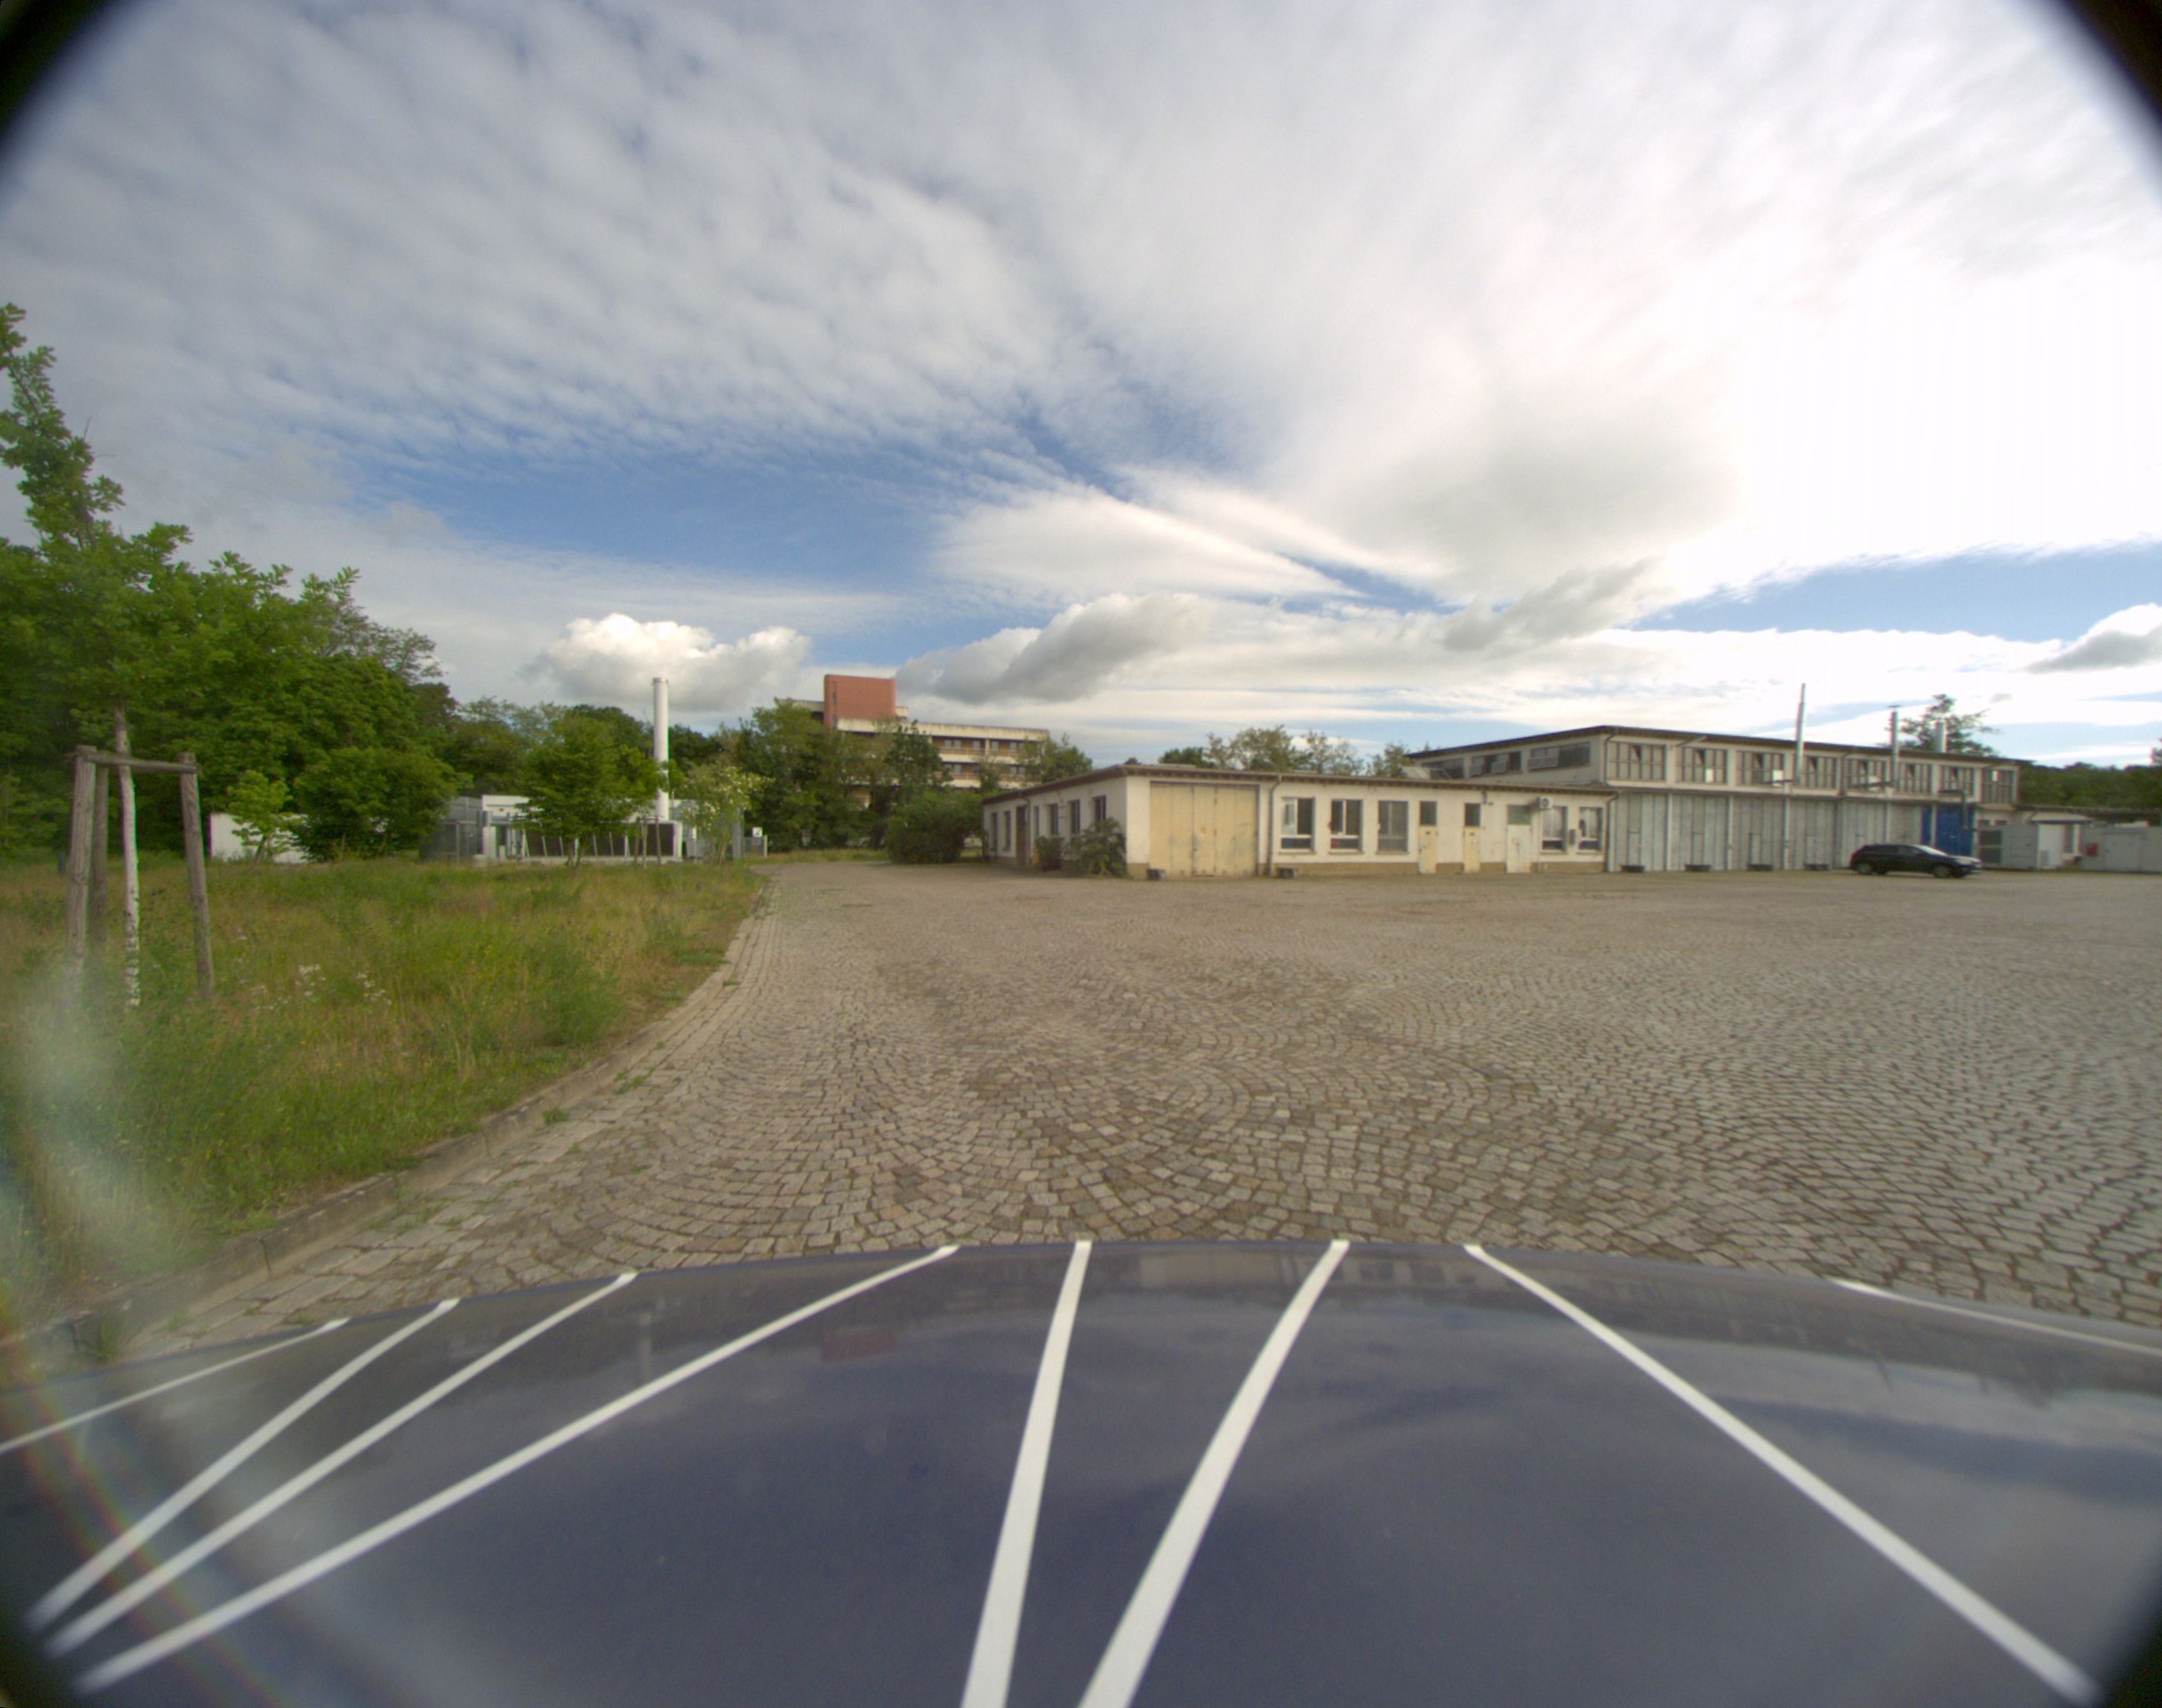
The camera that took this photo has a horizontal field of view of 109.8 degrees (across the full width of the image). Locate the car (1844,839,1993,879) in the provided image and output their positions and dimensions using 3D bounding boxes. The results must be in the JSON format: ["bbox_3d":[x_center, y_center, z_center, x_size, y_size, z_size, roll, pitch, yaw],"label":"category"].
[{"bbox_3d":[41.052,0.198,37.396,2.002,1.746,4.427,3,0,-21],"label":"car"}]

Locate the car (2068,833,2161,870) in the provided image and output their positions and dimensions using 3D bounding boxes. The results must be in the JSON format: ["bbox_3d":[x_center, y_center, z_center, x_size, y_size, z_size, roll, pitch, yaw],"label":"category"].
[{"bbox_3d":[66.898,-0.171,47.618,2.455,2.207,5.619,0,1,-21],"label":"car"}]

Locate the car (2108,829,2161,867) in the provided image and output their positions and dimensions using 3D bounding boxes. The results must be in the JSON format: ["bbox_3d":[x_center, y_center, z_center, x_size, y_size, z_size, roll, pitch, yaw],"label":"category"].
[{"bbox_3d":[74.688,-0.383,51.416,2.455,2.600,5.619,0,1,-21],"label":"car"}]
